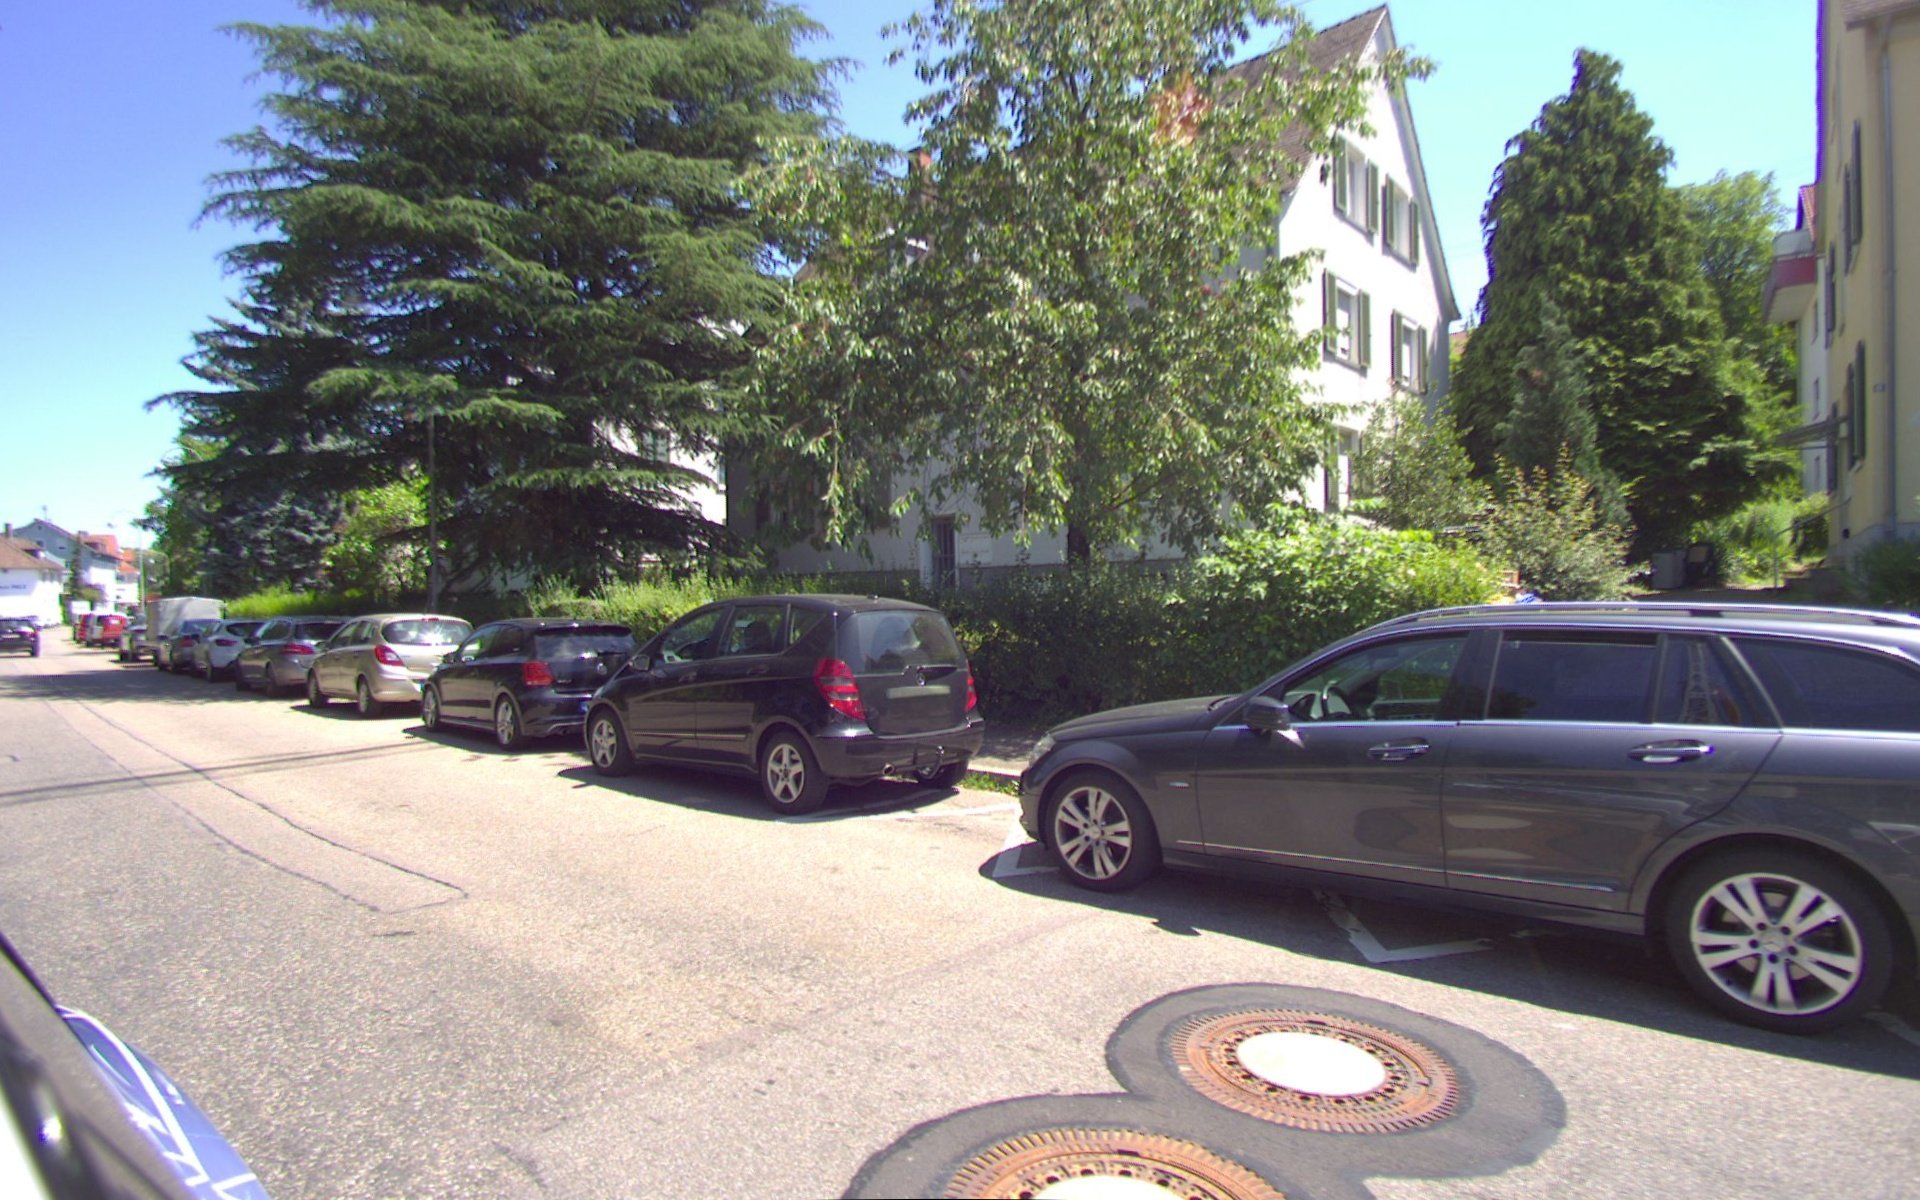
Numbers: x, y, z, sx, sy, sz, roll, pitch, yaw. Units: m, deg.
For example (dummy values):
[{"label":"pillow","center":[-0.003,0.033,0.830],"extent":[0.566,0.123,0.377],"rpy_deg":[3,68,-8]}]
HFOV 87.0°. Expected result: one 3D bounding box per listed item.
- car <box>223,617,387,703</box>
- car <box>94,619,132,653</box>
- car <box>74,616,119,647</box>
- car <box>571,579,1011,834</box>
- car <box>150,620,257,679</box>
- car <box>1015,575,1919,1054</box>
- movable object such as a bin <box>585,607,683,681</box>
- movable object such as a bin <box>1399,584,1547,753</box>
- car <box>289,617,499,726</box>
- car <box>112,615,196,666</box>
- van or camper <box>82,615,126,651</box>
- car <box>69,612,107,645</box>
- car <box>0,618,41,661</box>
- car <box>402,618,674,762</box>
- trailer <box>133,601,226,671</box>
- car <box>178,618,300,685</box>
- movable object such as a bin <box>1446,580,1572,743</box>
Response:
[{"label":"car","center":[-12.531,1.065,19.257],"extent":[1.776,1.453,4.275],"rpy_deg":[1,-2,-45]},{"label":"car","center":[-40.778,1.713,48.710],"extent":[1.290,1.589,2.323],"rpy_deg":[0,-1,-43]},{"label":"car","center":[-50.759,1.817,59.470],"extent":[1.866,1.772,3.616],"rpy_deg":[2,-2,-42]},{"label":"car","center":[-1.559,0.730,8.462],"extent":[3.789,1.652,1.663],"rpy_deg":[-1,-2,42]},{"label":"car","center":[-20.537,1.287,27.396],"extent":[1.775,1.453,4.480],"rpy_deg":[1,-2,-44]},{"label":"car","center":[2.481,0.700,4.663],"extent":[4.327,1.487,1.664],"rpy_deg":[-1,-2,40]},{"label":"movable object such as a bin","center":[-5.529,0.726,17.222],"extent":[0.969,1.209,1.285],"rpy_deg":[-1,-1,28]},{"label":"movable object such as a bin","center":[4.366,0.550,8.618],"extent":[0.963,1.342,0.745],"rpy_deg":[-2,-1,40]},{"label":"car","center":[-8.748,1.004,15.524],"extent":[3.785,1.453,1.777],"rpy_deg":[-1,-2,43]},{"label":"car","center":[-27.574,1.355,34.583],"extent":[1.748,1.631,4.551],"rpy_deg":[1,-2,-45]},{"label":"van or camper","center":[-44.142,1.687,52.178],"extent":[1.561,1.784,3.892],"rpy_deg":[0,-1,-43]},{"label":"car","center":[-59.733,1.945,69.318],"extent":[1.866,2.131,4.004],"rpy_deg":[2,-2,-42]},{"label":"car","center":[-37.101,1.519,39.223],"extent":[4.141,1.586,1.878],"rpy_deg":[-1,-1,43]},{"label":"car","center":[-5.079,0.935,11.938],"extent":[1.662,1.412,3.792],"rpy_deg":[1,-2,-45]},{"label":"trailer","center":[-24.459,1.120,31.677],"extent":[1.793,2.049,4.002],"rpy_deg":[2,-2,-45]},{"label":"car","center":[-17.091,1.166,23.921],"extent":[1.775,1.453,3.899],"rpy_deg":[1,-2,-44]},{"label":"movable object such as a bin","center":[5.233,0.559,9.657],"extent":[0.917,1.464,0.650],"rpy_deg":[-2,-1,40]}]
